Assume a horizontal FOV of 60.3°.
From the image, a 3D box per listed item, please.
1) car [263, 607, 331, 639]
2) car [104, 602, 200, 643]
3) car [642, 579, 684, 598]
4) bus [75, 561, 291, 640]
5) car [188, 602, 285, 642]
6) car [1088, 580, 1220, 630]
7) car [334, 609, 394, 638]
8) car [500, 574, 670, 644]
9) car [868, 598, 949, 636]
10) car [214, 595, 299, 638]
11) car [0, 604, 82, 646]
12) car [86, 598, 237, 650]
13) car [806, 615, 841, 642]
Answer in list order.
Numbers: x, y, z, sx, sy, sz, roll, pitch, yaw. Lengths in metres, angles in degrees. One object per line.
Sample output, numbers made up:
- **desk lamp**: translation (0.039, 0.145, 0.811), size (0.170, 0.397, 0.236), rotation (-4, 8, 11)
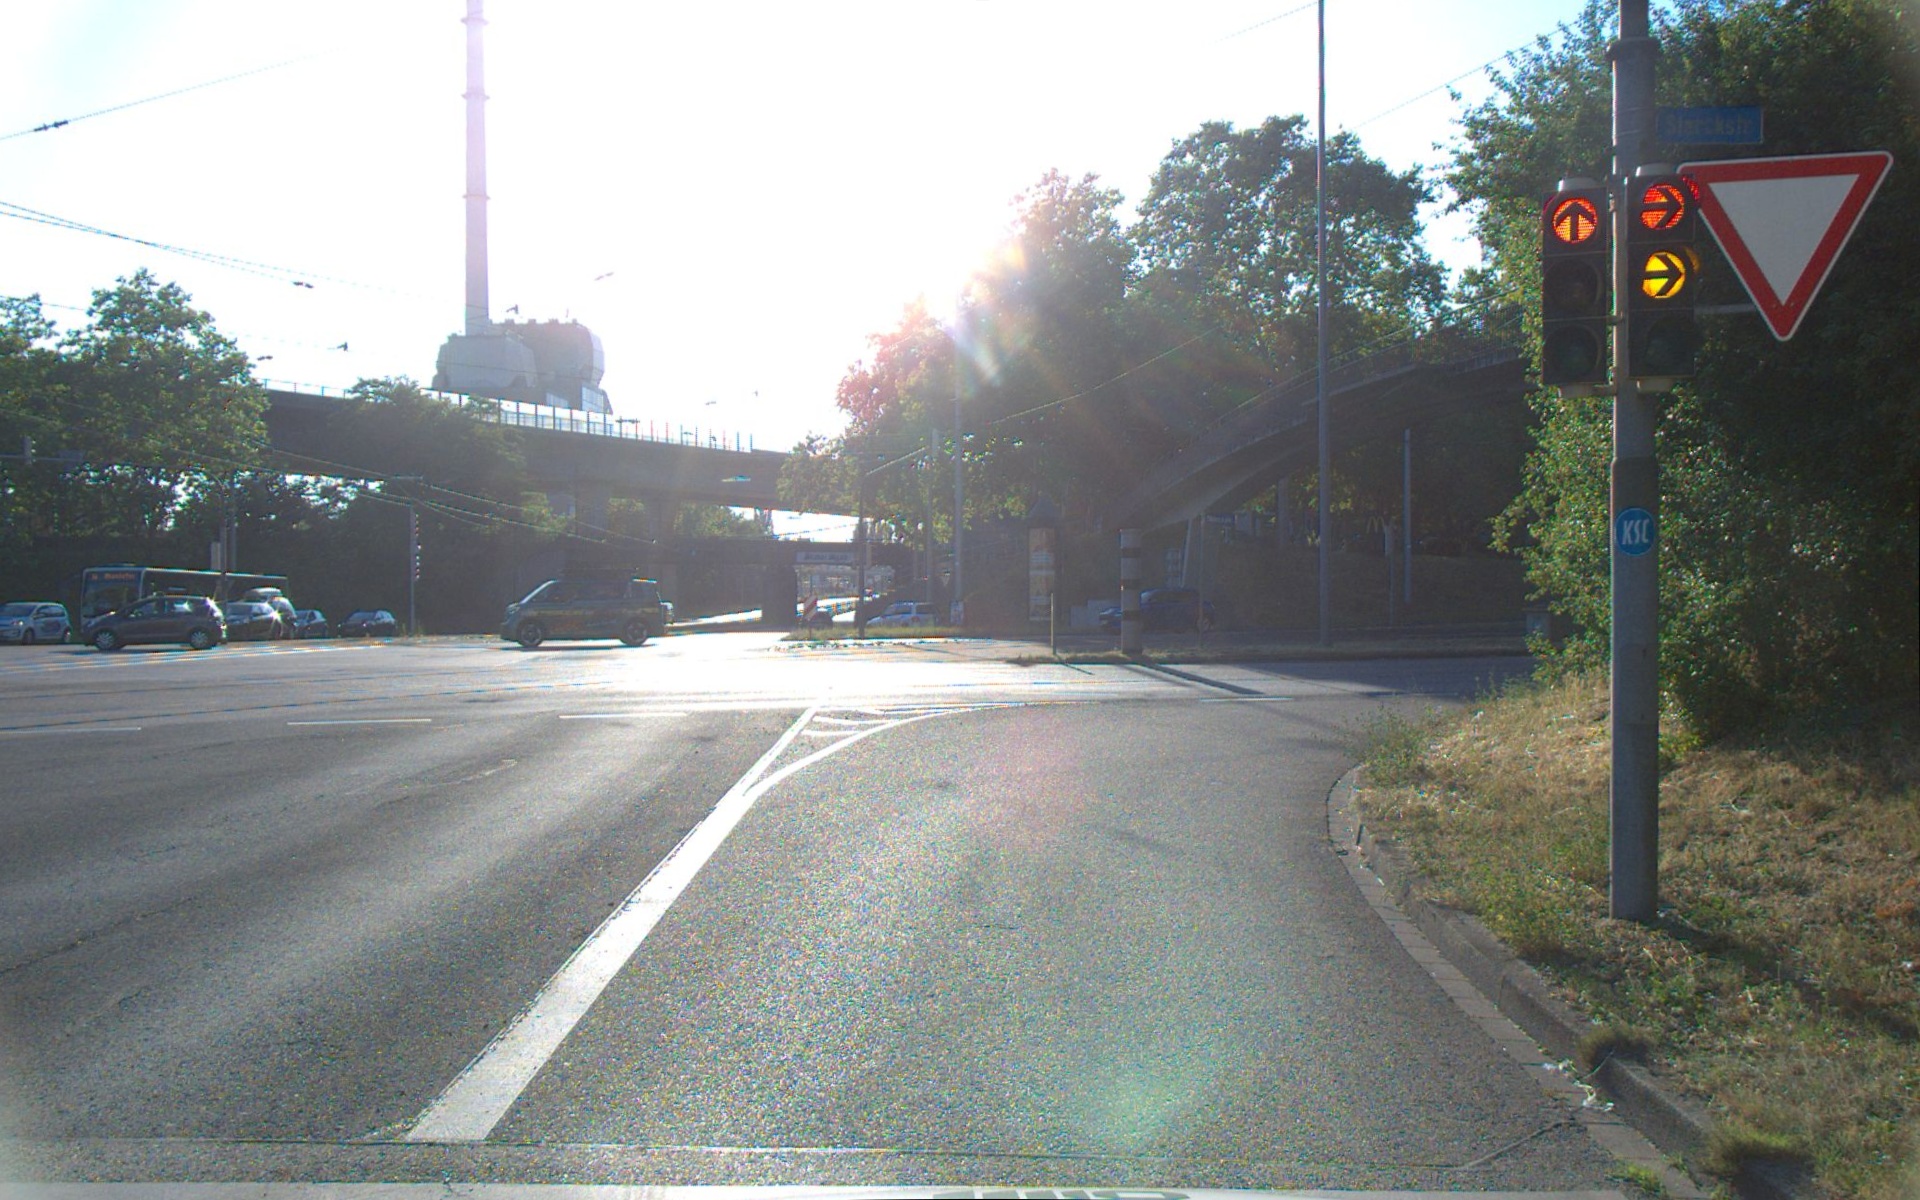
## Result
- **car**: translation (-32.016, 1.102, 80.003), size (1.665, 1.467, 4.000), rotation (0, 0, 0)
- **car**: translation (-28.512, 0.763, 58.492), size (1.572, 1.378, 3.998), rotation (0, 0, -3)
- **car**: translation (-29.662, -1.112, 165.131), size (1.957, 1.802, 3.991), rotation (1, 0, 31)
- **bus**: translation (-32.129, 0.011, 69.286), size (2.764, 3.006, 12.855), rotation (0, 0, 1)
- **car**: translation (-25.743, 0.754, 58.976), size (1.676, 1.378, 4.095), rotation (0, 0, 0)
- **car**: translation (6.364, 0.161, 54.222), size (3.868, 1.586, 1.986), rotation (0, 0, -23)
- **car**: translation (-31.231, 1.211, 86.788), size (1.665, 1.467, 4.000), rotation (0, 0, 0)
- **car**: translation (-10.860, 0.250, 47.834), size (4.620, 1.939, 1.989), rotation (0, 0, -20)
- **car**: translation (-2.419, 0.771, 76.251), size (1.698, 1.681, 4.165), rotation (0, 0, -36)
- **car**: translation (-28.249, 0.640, 66.527), size (1.676, 1.681, 4.095), rotation (0, 0, 0)
- **car**: translation (-32.142, 0.840, 57.312), size (1.572, 1.378, 3.732), rotation (0, 0, -3)
- **car**: translation (-22.904, 0.687, 47.543), size (3.663, 1.447, 1.688), rotation (0, 0, -18)
- **car**: translation (-7.712, 1.623, 93.751), size (1.657, 1.447, 4.151), rotation (0, 0, -1)
